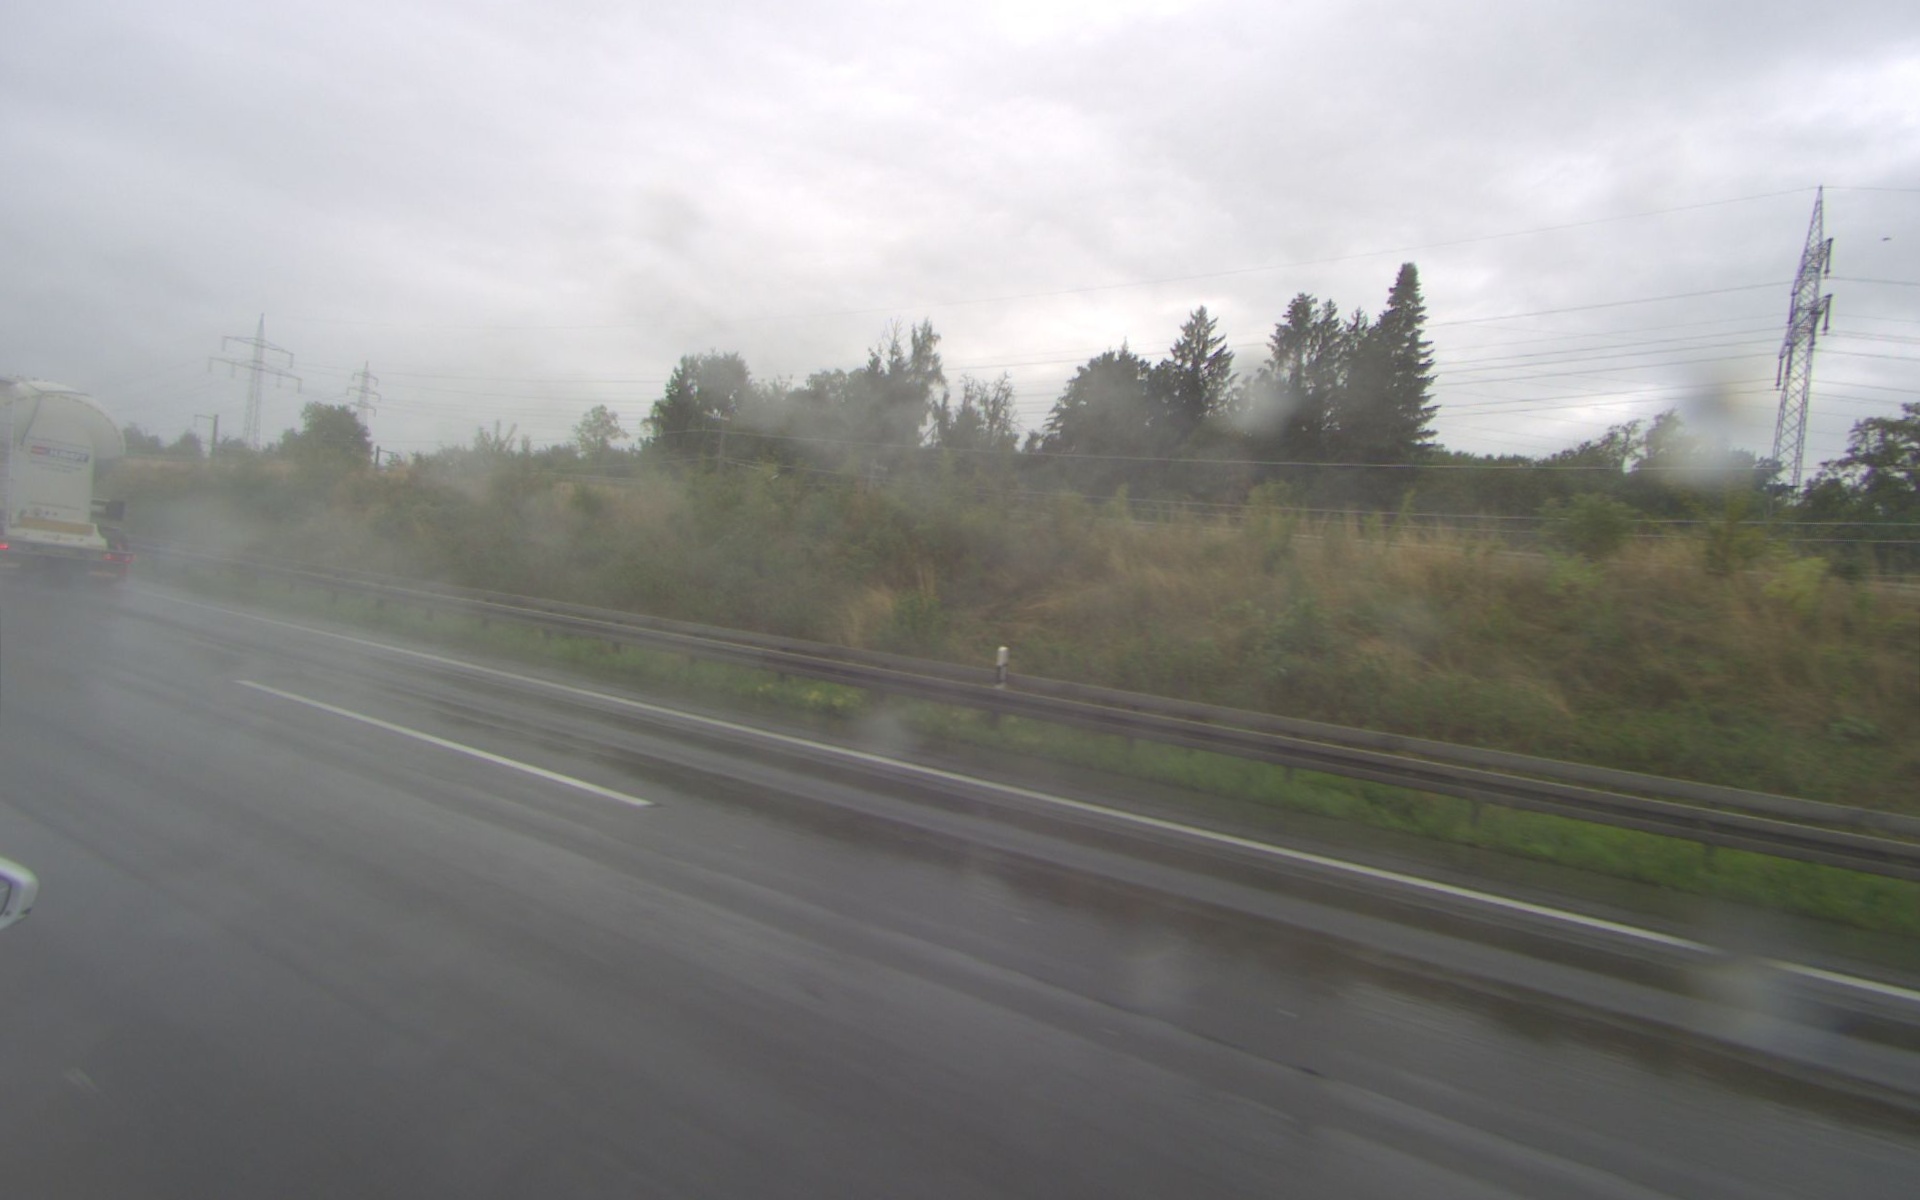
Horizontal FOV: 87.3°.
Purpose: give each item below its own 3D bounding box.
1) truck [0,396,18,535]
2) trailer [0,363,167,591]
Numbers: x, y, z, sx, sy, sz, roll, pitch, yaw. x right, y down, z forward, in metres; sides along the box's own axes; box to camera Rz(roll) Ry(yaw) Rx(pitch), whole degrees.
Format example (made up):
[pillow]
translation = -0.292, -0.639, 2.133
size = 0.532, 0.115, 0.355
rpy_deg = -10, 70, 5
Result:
[truck]
translation = -26.325, -3.343, 25.122
size = 4.991, 4.030, 2.502
rpy_deg = 7, -1, 31
[trailer]
translation = -21.690, -2.819, 22.273
size = 10.881, 3.928, 2.502
rpy_deg = 7, -1, 31
